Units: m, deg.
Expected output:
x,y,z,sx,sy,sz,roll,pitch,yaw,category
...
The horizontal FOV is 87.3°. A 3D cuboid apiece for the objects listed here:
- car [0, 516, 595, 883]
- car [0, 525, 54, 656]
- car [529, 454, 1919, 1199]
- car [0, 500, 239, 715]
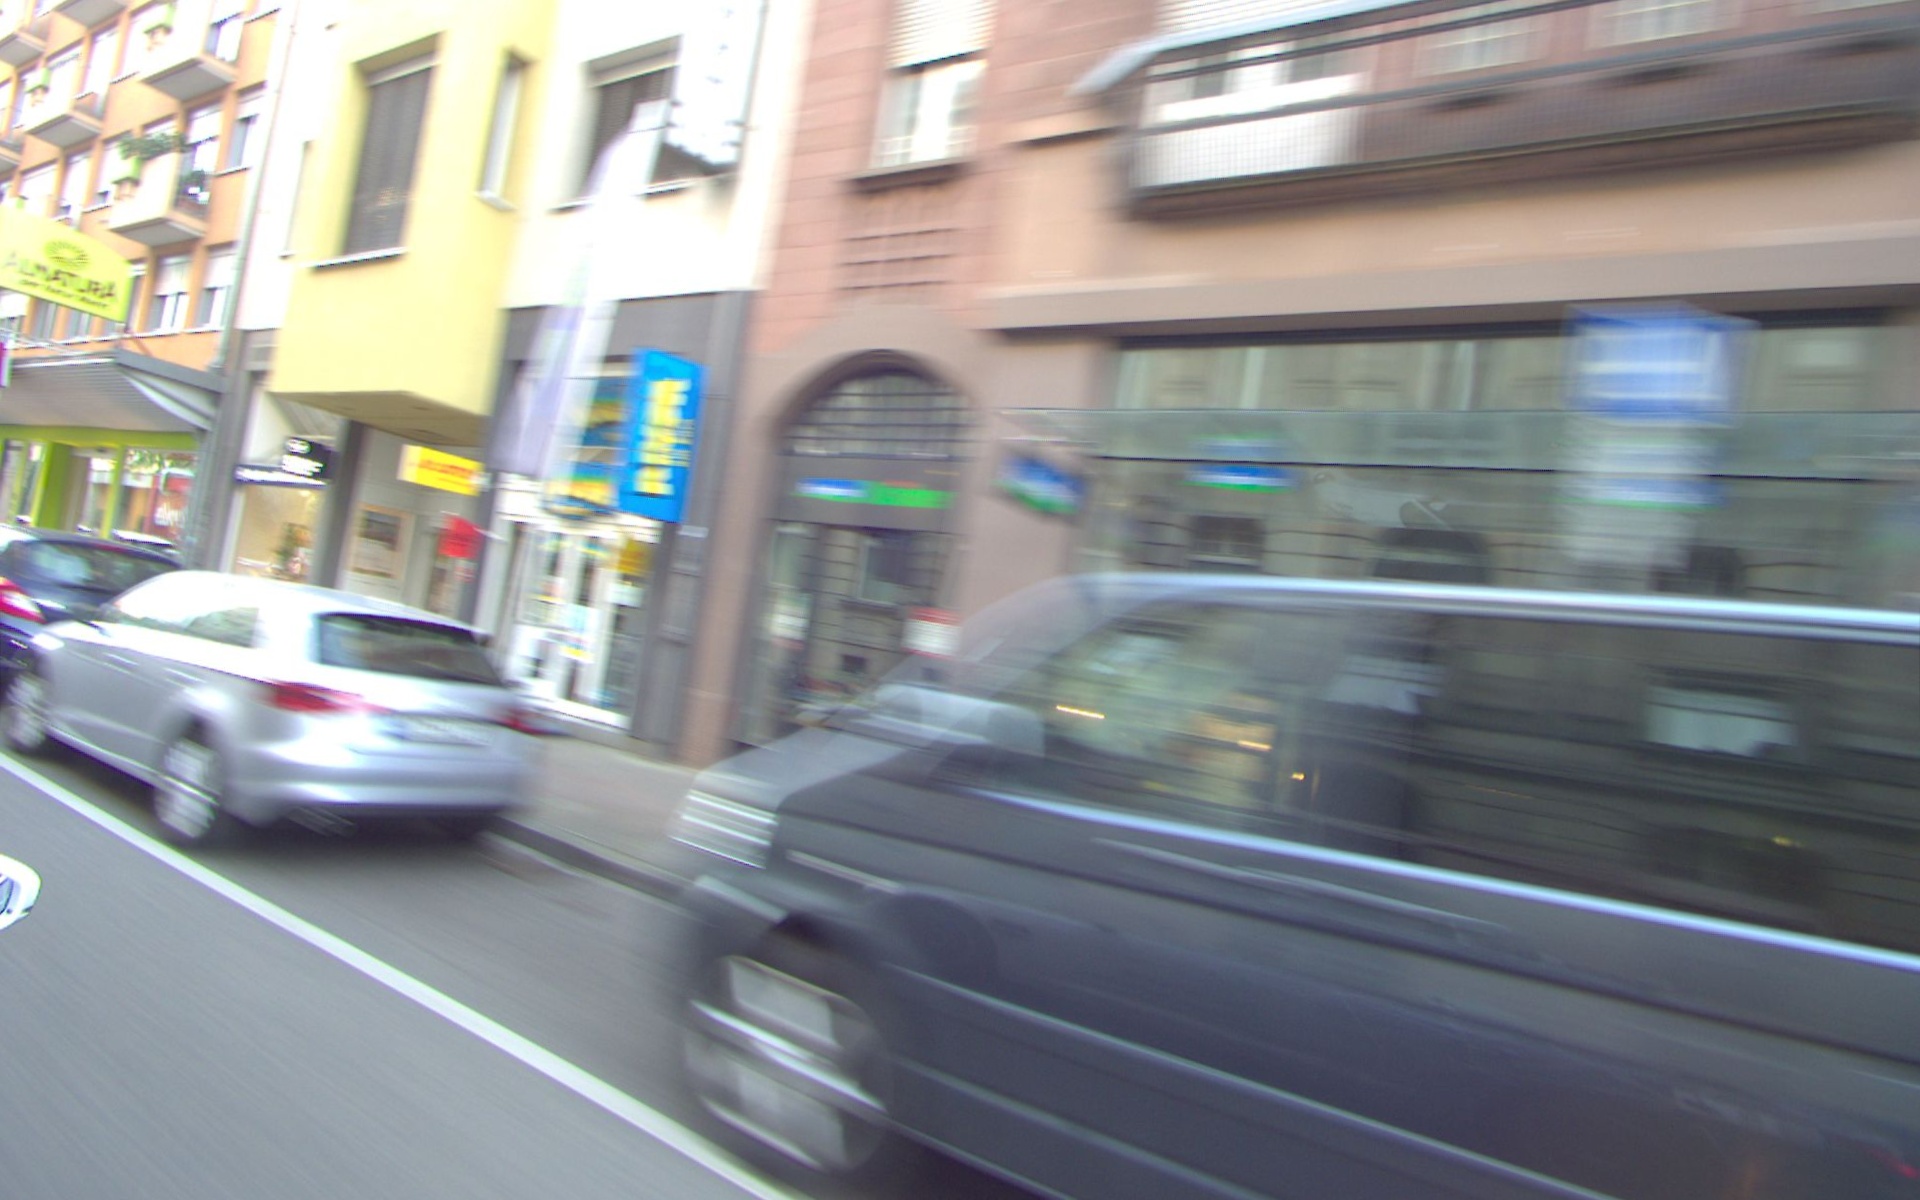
x,y,z,sx,sy,sz,roll,pitch,yaw,category
-4.637,0.509,6.644,4.425,1.467,1.693,7,-6,33,car
-13.092,-0.466,12.116,4.559,1.424,1.699,8,-5,29,car
1.267,0.904,2.937,4.970,2.079,1.853,7,-5,32,car
-8.789,-0.101,9.419,4.103,1.530,1.625,8,-5,31,car
